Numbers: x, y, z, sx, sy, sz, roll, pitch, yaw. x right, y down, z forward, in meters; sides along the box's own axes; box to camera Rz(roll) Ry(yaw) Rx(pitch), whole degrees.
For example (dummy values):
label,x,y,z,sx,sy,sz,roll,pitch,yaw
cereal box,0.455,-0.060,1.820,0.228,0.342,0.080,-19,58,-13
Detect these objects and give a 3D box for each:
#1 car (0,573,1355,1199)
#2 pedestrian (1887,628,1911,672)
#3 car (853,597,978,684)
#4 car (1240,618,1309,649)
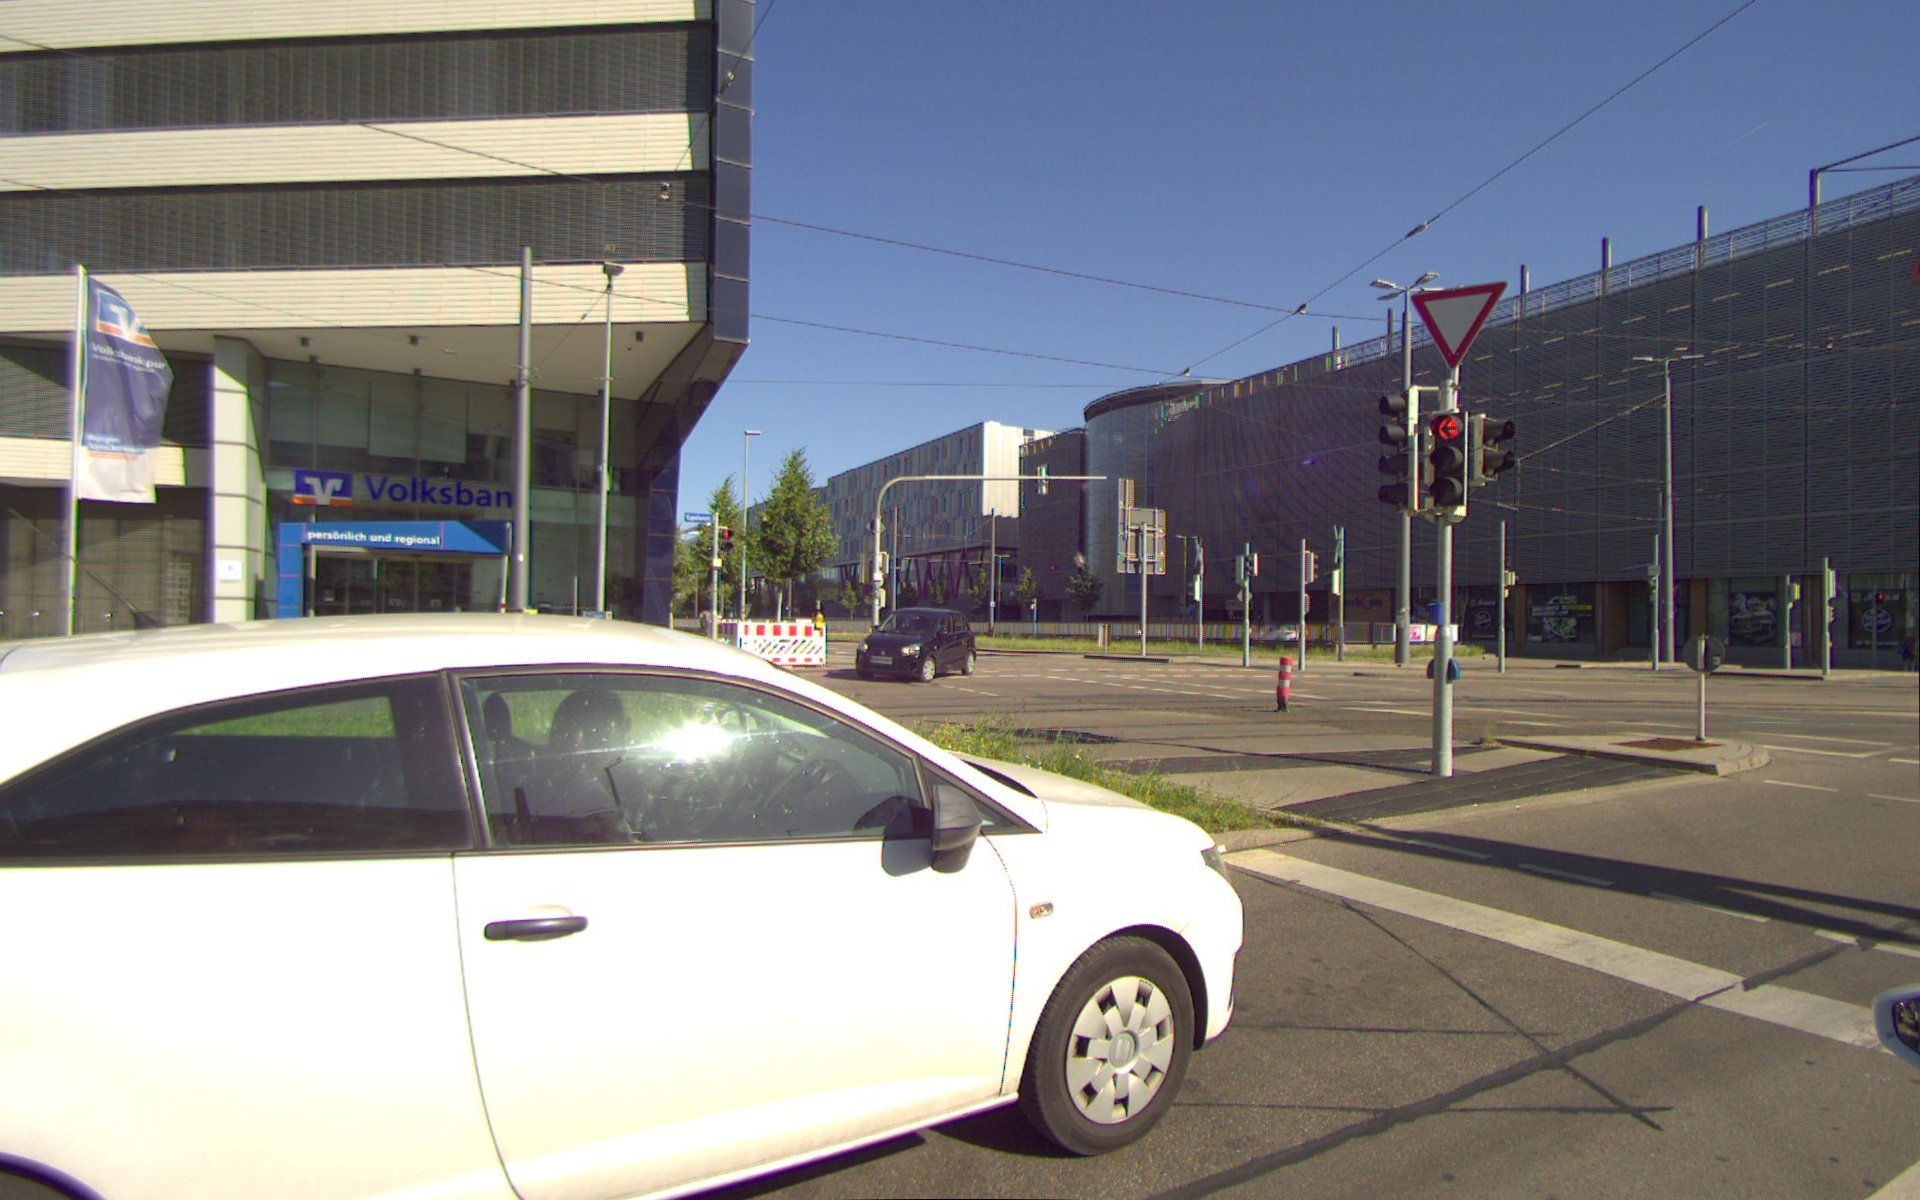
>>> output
label,x,y,z,sx,sy,sz,roll,pitch,yaw
car,-0.960,0.739,2.785,3.977,1.460,1.723,2,1,-31
pedestrian,39.962,2.122,42.727,0.687,1.821,0.726,-2,-3,44
car,-0.890,0.861,22.067,1.550,1.729,3.553,0,-1,19
car,20.863,2.204,66.856,1.819,1.887,4.306,2,-1,-30
